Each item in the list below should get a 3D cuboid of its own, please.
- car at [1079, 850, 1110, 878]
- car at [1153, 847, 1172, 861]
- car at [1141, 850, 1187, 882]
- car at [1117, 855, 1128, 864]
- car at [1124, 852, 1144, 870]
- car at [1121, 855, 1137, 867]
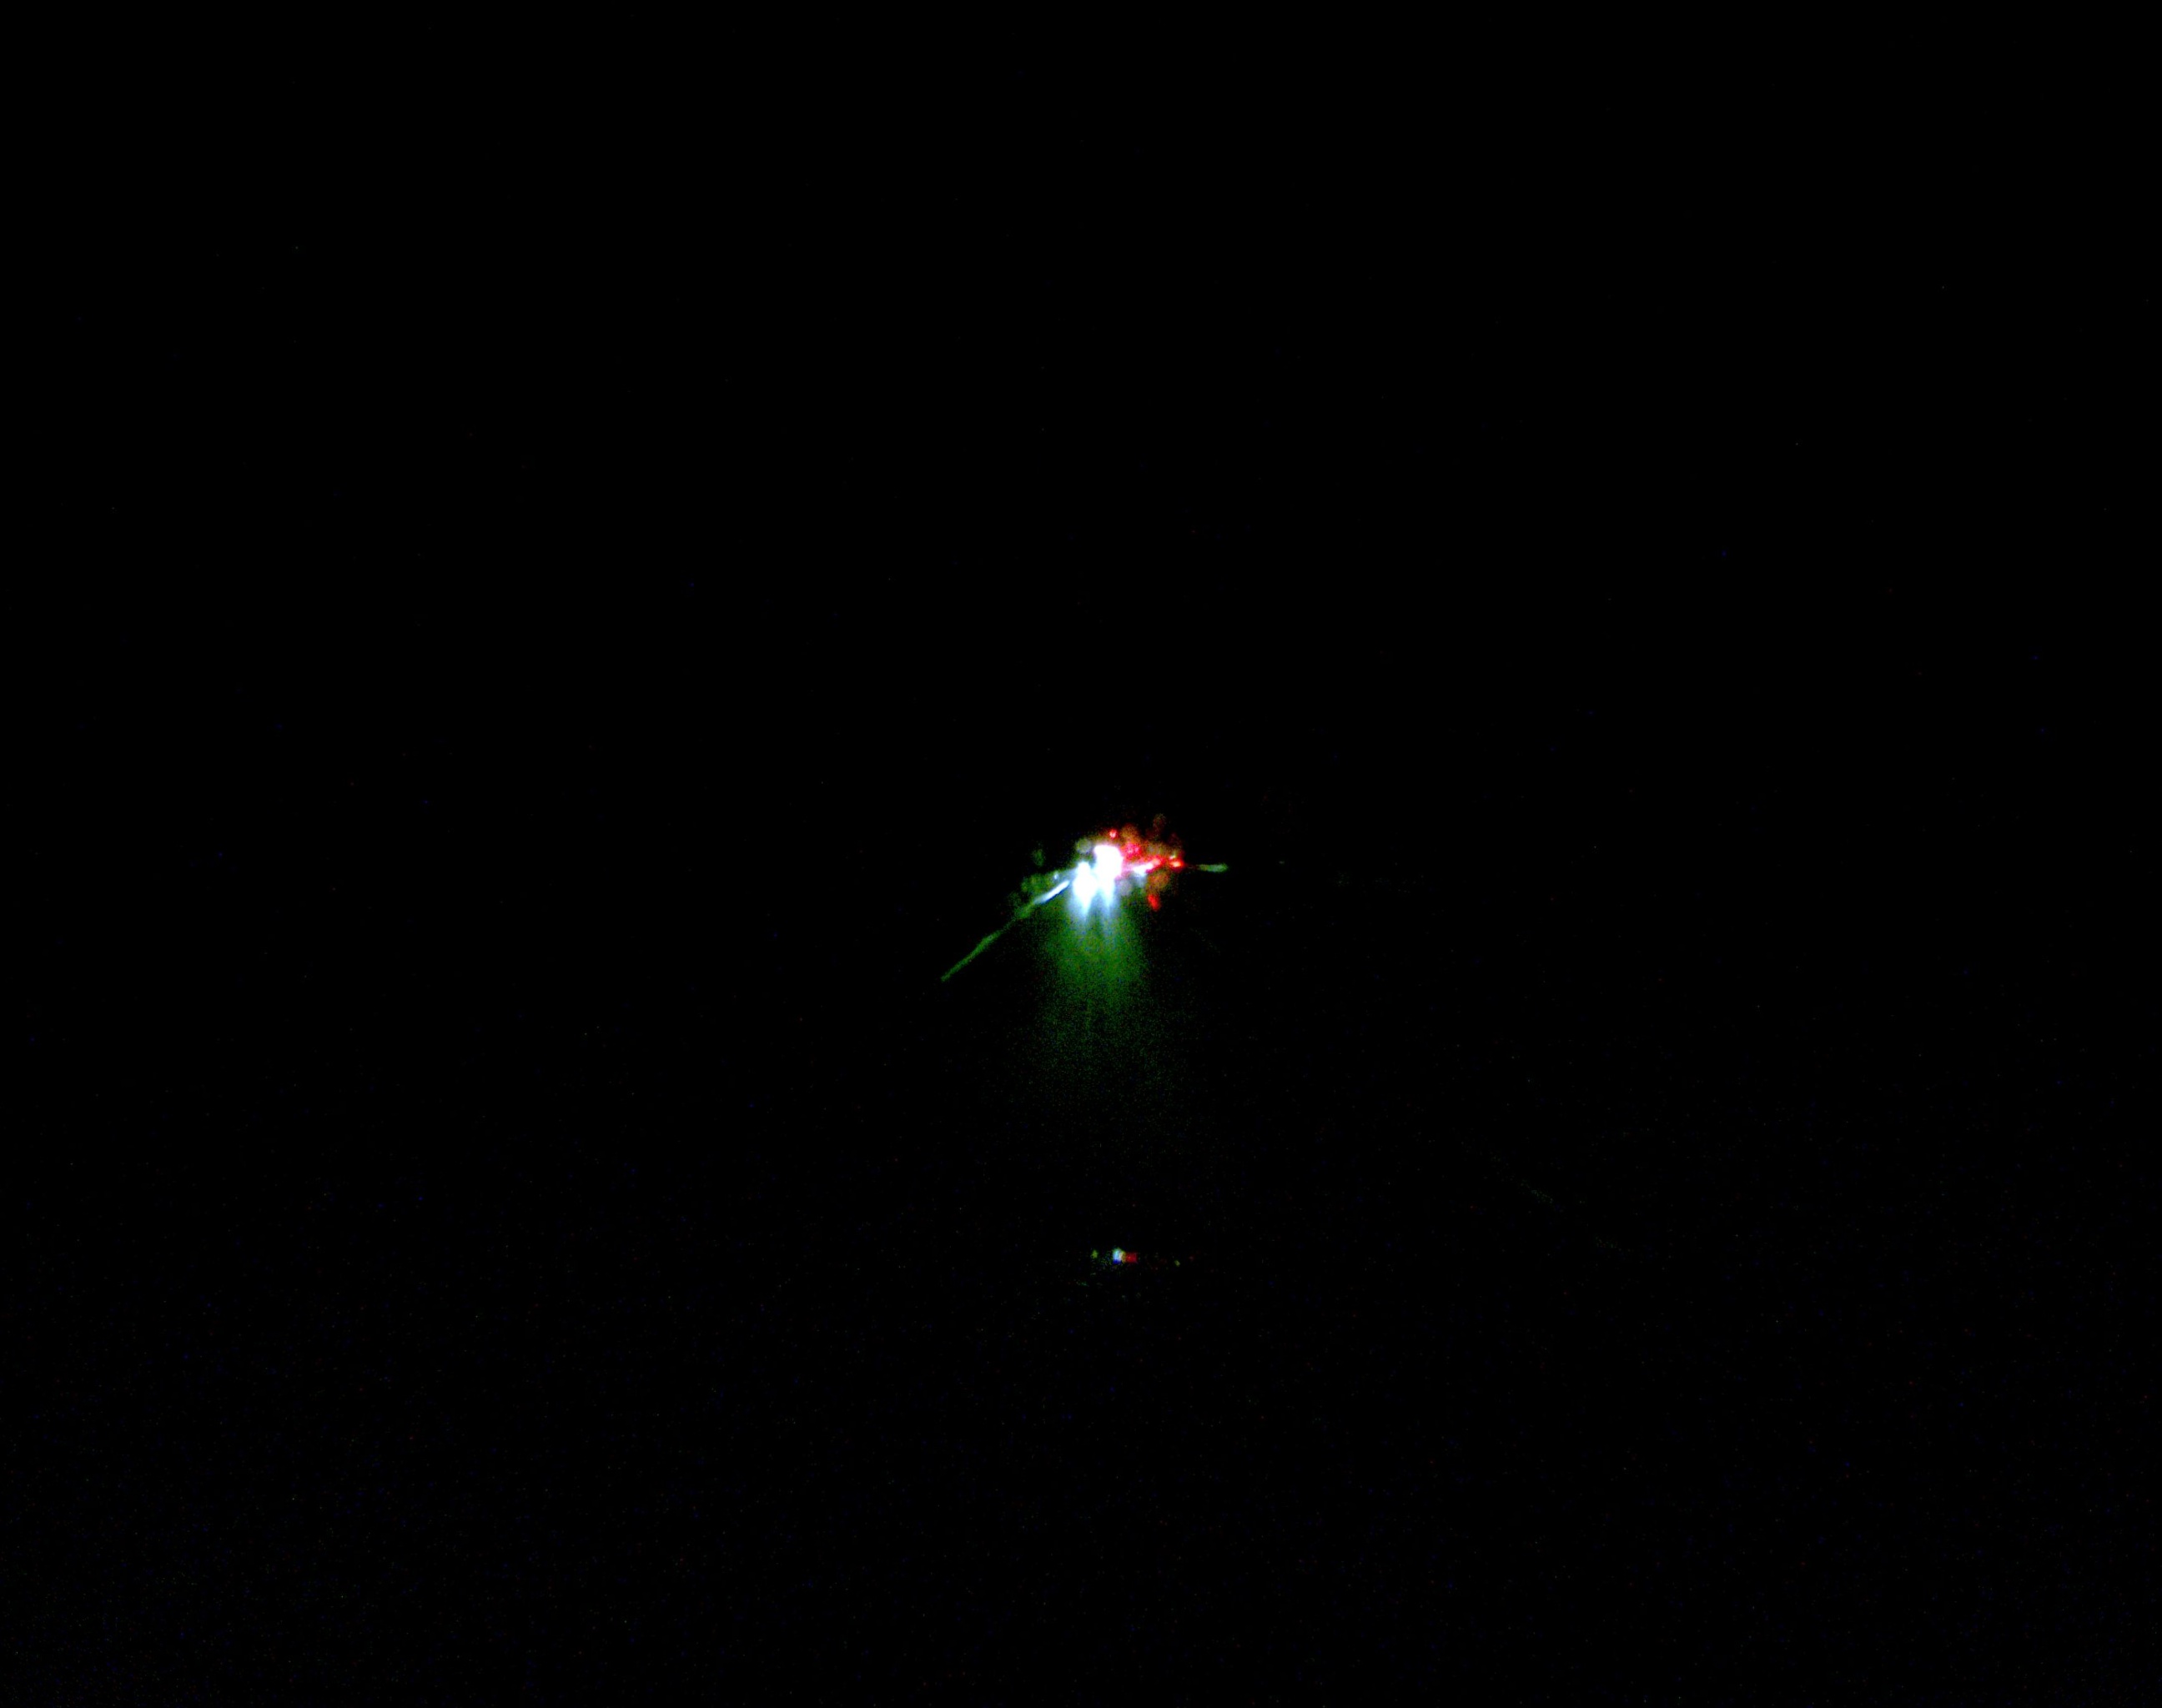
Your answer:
[{"bbox_3d":[1.020,0.697,54.362,1.998,1.804,4.000,-5,0,2],"label":"car"},{"bbox_3d":[9.963,-0.033,93.076,1.834,1.545,4.442,-4,0,2],"label":"car"},{"bbox_3d":[4.265,0.600,39.720,1.998,1.488,4.357,-4,0,2],"label":"car"},{"bbox_3d":[7.850,1.013,143.525,1.790,1.623,4.426,-3,0,2],"label":"car"},{"bbox_3d":[4.985,0.635,71.711,1.720,1.545,4.000,-3,0,2],"label":"car"},{"bbox_3d":[6.172,0.884,98.139,1.834,1.545,4.442,-2,0,2],"label":"car"}]
